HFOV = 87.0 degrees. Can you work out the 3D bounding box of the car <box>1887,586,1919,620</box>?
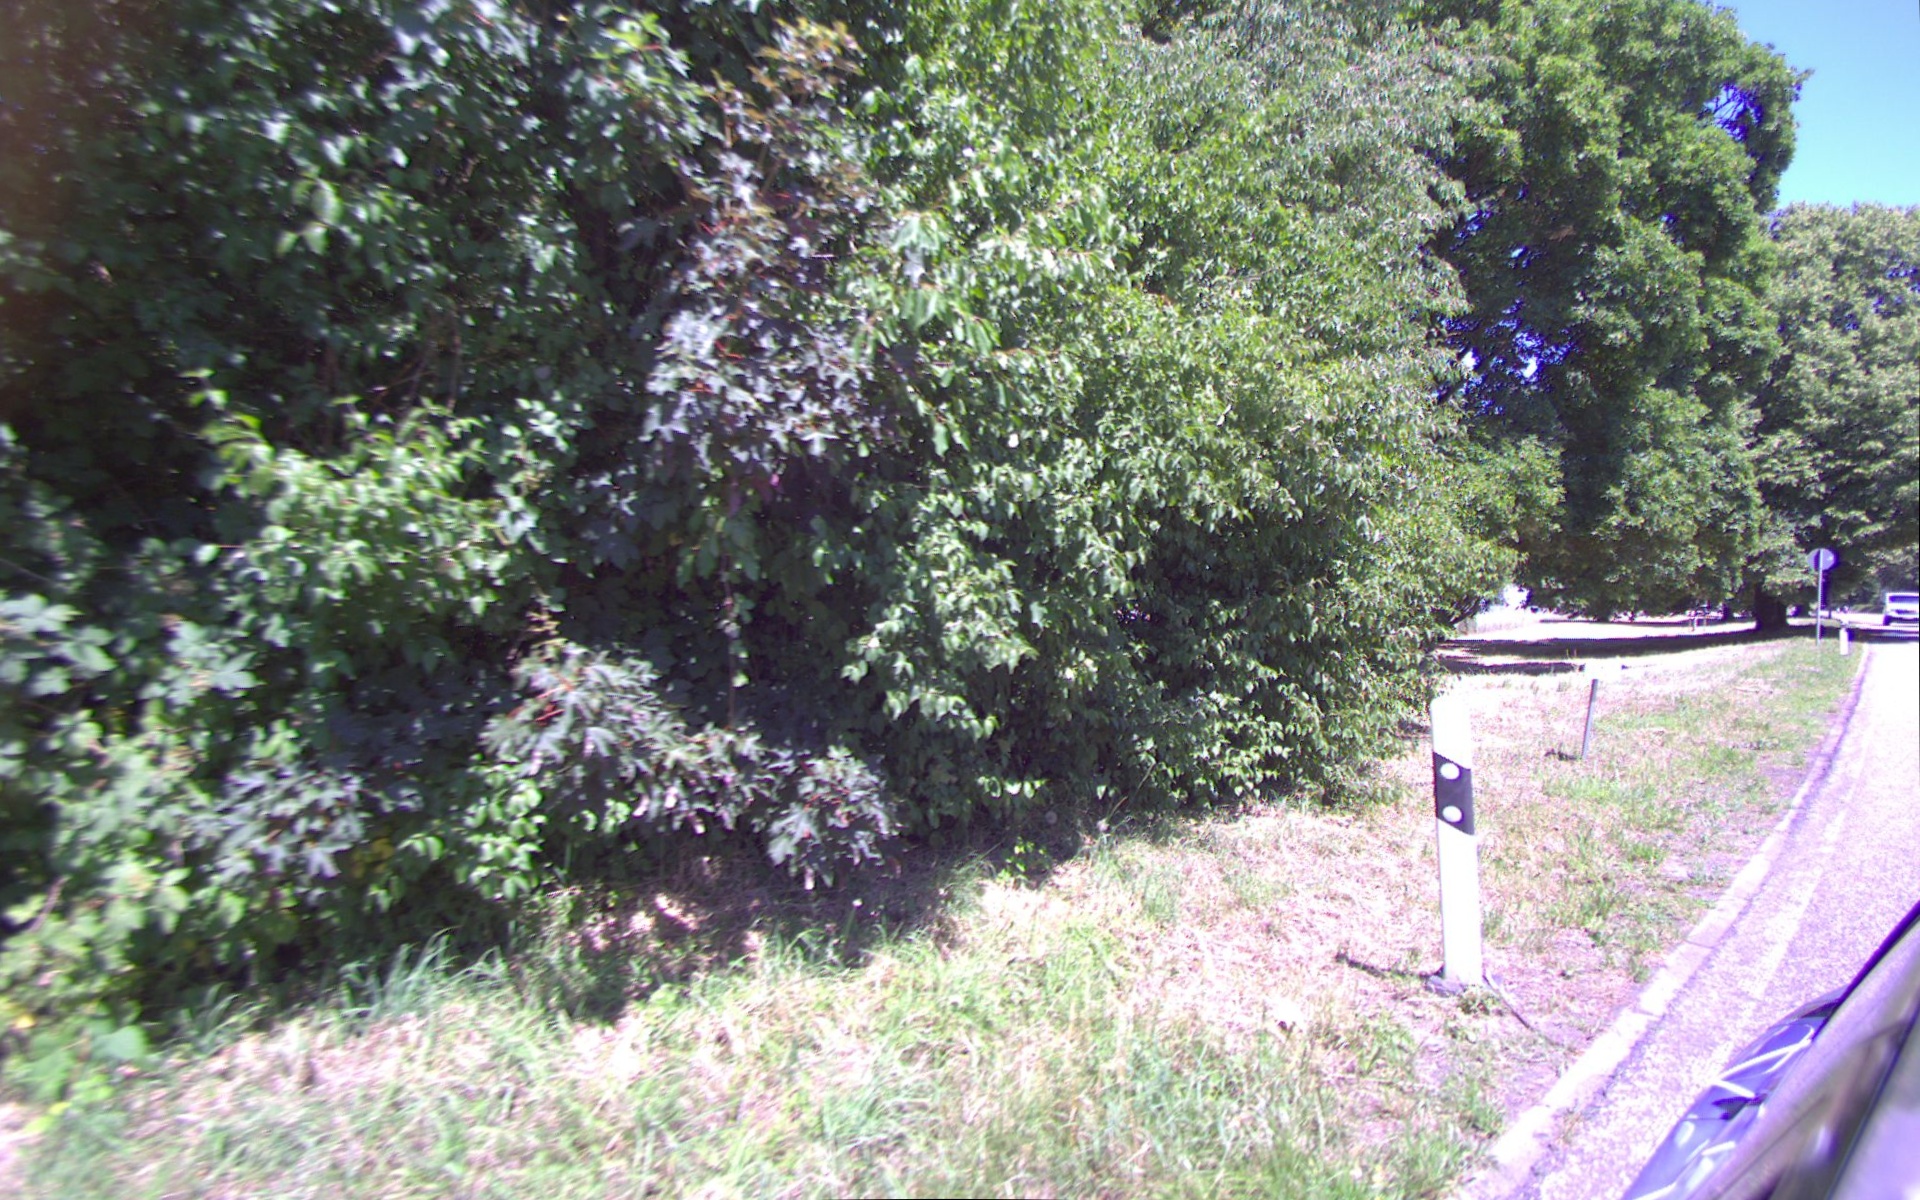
[{"bbox_3d":[56.544,0.152,59.963,1.785,1.939,3.596,1,1,34],"label":"car"}]
